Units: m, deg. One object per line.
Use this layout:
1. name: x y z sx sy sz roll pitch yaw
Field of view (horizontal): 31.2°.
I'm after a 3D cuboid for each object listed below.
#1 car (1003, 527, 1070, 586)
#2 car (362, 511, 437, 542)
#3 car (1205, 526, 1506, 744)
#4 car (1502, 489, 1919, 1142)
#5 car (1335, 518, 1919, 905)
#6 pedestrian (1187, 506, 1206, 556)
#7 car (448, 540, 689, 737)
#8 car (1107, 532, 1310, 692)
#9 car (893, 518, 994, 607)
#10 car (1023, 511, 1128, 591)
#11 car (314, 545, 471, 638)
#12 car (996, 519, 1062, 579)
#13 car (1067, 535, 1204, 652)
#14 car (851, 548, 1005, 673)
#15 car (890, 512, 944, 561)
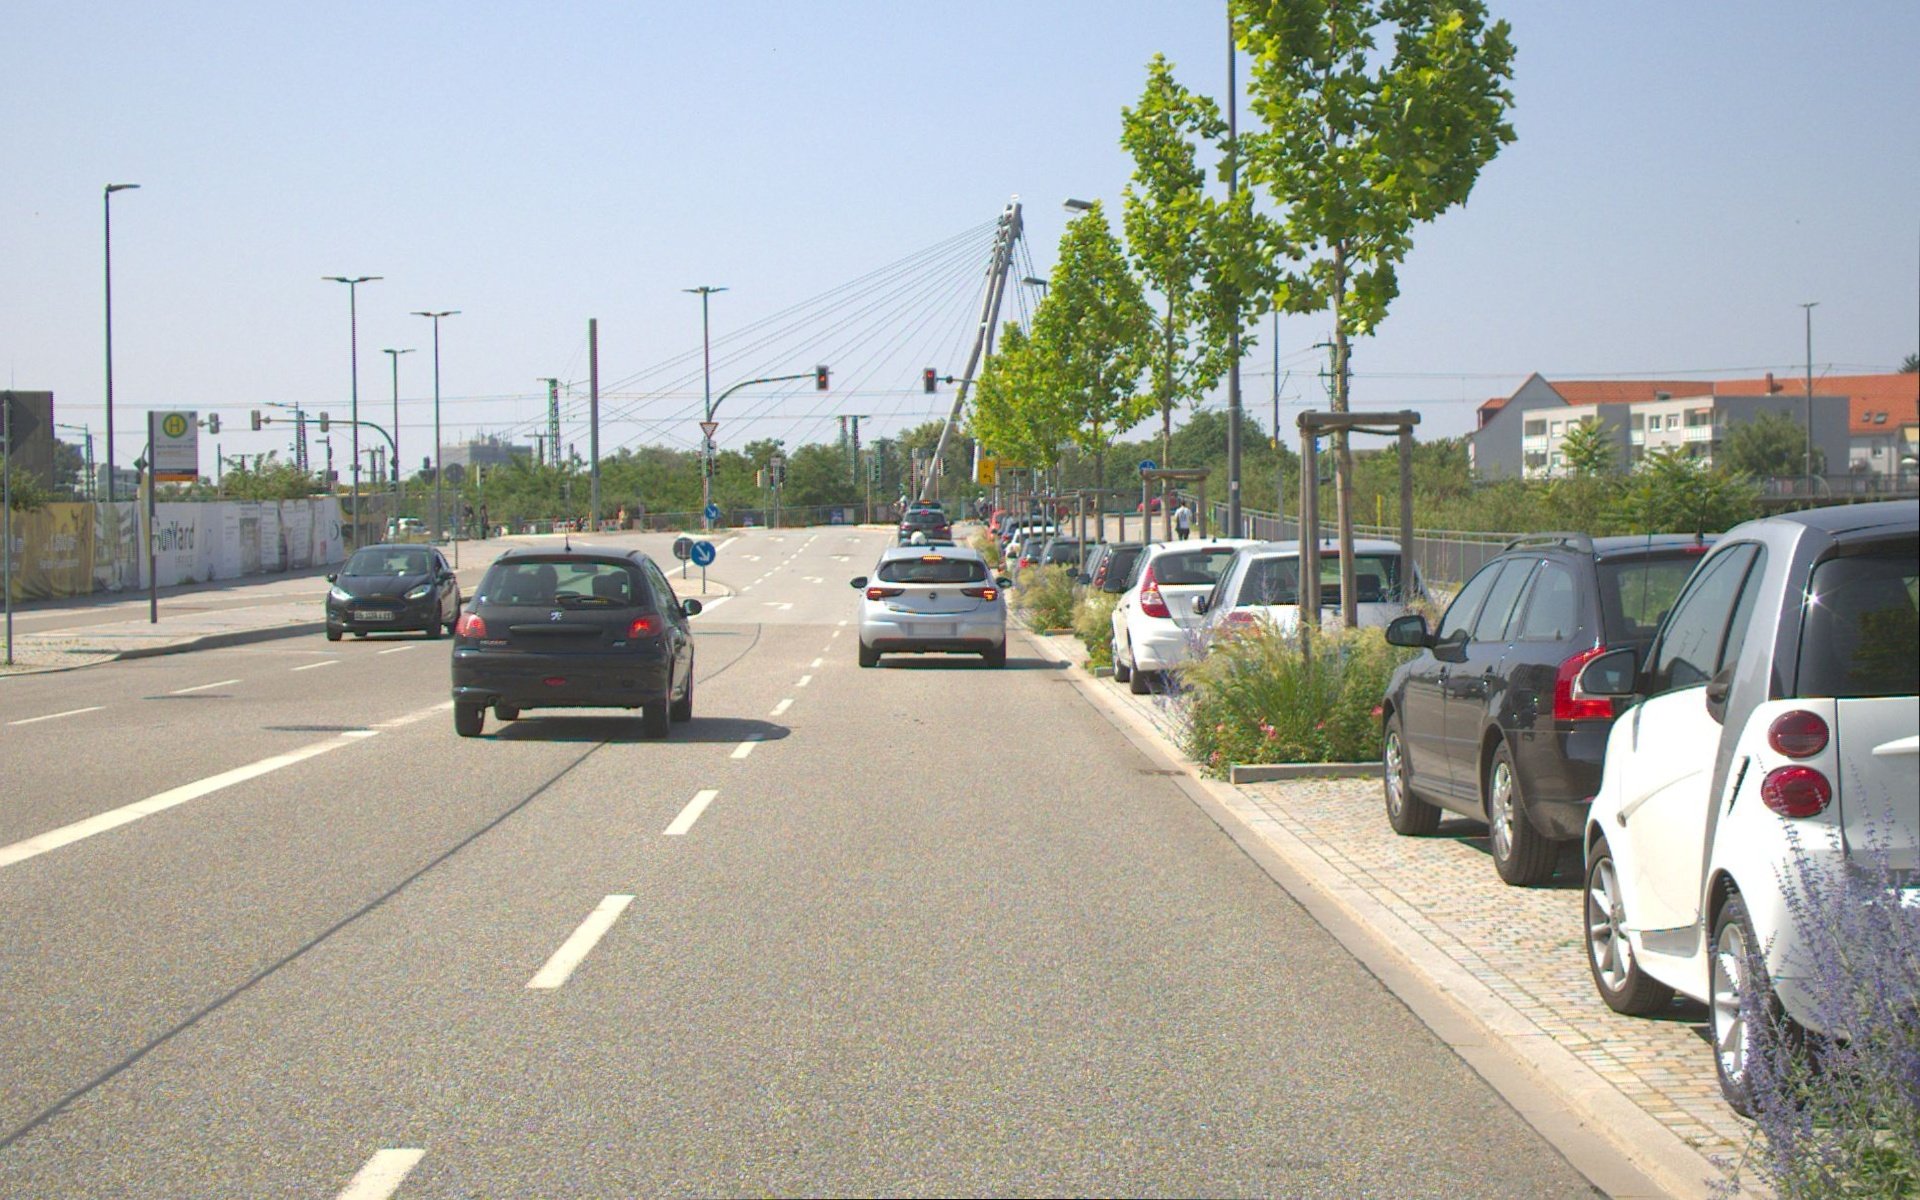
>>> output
1. car: 2.037 -1.197 92.382 1.696 1.470 4.205 -2 2 0
2. car: -31.765 -4.155 194.841 3.995 1.644 1.857 2 1 34
3. car: 2.849 0.200 25.564 1.908 1.474 4.157 0 1 2
4. car: 2.832 0.476 10.315 1.908 1.572 4.157 0 1 2
5. car: 3.023 0.430 15.815 1.789 1.472 4.372 -2 0 -4
6. pedestrian: 7.494 -2.173 108.998 0.533 1.570 0.524 1 0 0
7. car: -3.015 0.249 27.041 1.619 1.411 3.728 -1 1 -3
8. car: 2.439 0.098 34.548 1.746 1.504 4.001 0 0 0
9. car: -0.308 -0.704 63.192 1.778 1.563 4.000 -1 1 0
10. car: 2.234 -0.939 67.393 1.704 1.458 3.954 -2 0 -2
11. car: -8.691 -0.153 52.956 1.704 1.347 4.456 -1 1 -1
12. car: 1.973 -1.484 99.038 1.822 1.611 3.611 -2 2 1
13. car: 2.299 -0.115 45.770 1.704 1.457 4.085 -1 1 1
14. car: -0.368 0.088 42.288 1.778 1.437 4.000 1 1 0
15. car: -1.437 -2.141 115.785 1.778 1.563 4.001 0 2 0
